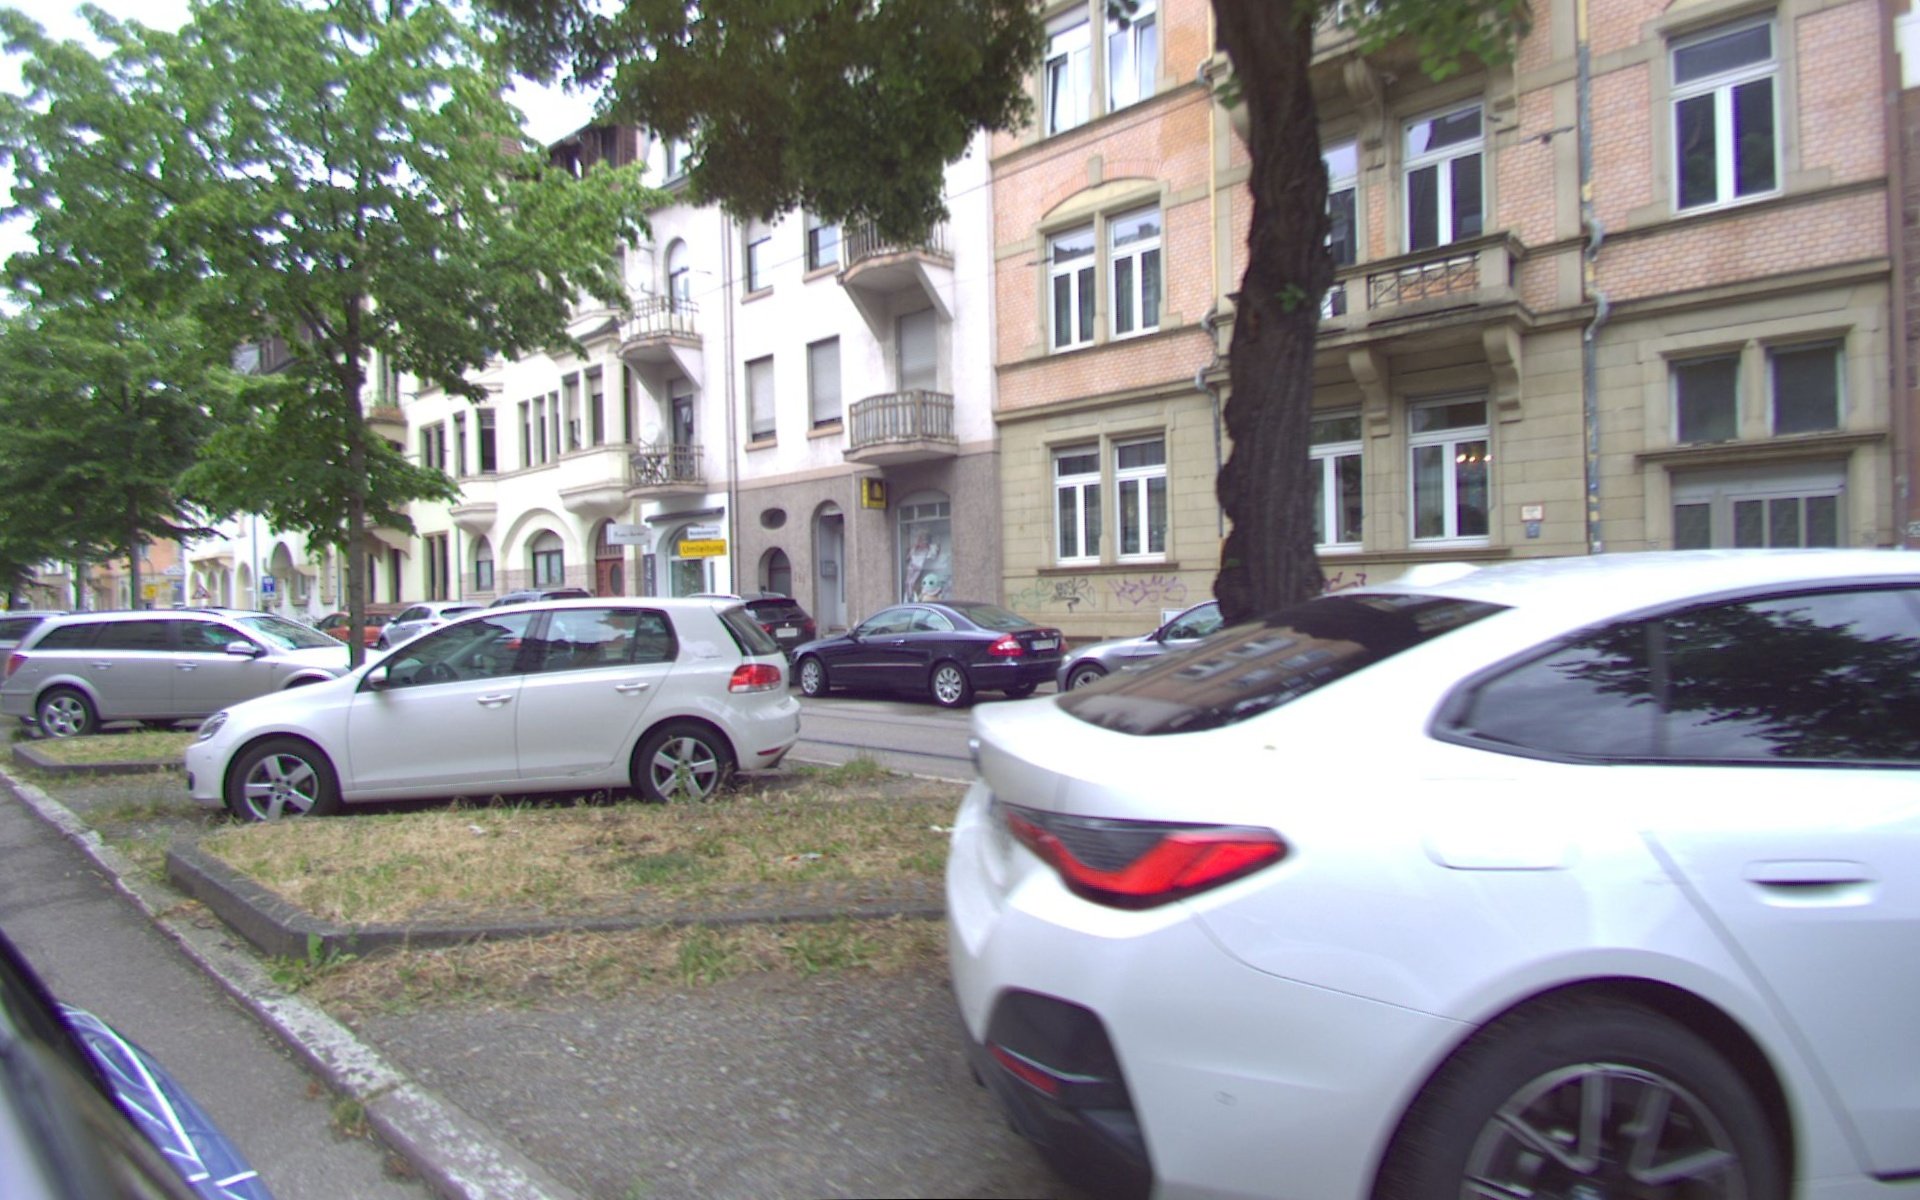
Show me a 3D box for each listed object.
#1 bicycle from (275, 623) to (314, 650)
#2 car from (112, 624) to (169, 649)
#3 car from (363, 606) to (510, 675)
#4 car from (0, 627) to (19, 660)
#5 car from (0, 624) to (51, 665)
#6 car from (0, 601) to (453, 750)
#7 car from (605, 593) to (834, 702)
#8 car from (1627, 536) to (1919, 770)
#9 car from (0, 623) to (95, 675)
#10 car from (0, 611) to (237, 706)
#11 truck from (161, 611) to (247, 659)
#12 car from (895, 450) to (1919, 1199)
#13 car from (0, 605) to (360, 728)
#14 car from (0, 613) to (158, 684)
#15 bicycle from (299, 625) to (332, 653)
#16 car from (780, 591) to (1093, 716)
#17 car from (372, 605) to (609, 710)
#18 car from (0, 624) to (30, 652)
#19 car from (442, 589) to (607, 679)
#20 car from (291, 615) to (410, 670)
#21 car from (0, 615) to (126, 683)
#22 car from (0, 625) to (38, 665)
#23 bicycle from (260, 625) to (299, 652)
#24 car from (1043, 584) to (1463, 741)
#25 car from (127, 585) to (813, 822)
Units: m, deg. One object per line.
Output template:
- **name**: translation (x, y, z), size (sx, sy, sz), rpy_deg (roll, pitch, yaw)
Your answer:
- **bicycle**: translation (-29.441, 1.617, 44.751), size (1.908, 1.135, 0.607), rpy_deg (-2, 2, 30)
- **car**: translation (-42.066, 1.880, 51.950), size (3.377, 1.185, 1.618), rpy_deg (-2, 0, 39)
- **car**: translation (-13.953, 1.052, 26.886), size (4.489, 1.672, 1.832), rpy_deg (-2, -1, 39)
- **car**: translation (-42.721, 1.905, 42.772), size (3.935, 1.426, 1.902), rpy_deg (-2, -2, -10)
- **car**: translation (-34.572, 1.609, 35.500), size (3.681, 1.399, 1.791), rpy_deg (-2, -2, -5)
- **car**: translation (-8.824, 0.845, 12.173), size (4.498, 1.504, 1.865), rpy_deg (-2, 1, -3)
- **car**: translation (-4.359, 0.766, 18.010), size (4.271, 1.692, 1.786), rpy_deg (-1, 0, 41)
- **car**: translation (7.616, 0.352, 7.452), size (4.318, 1.641, 1.750), rpy_deg (-1, 0, 41)
- **car**: translation (-29.591, 1.519, 30.963), size (4.540, 1.477, 1.887), rpy_deg (-2, 0, -3)
- **car**: translation (-16.381, 1.064, 19.081), size (4.141, 1.621, 1.728), rpy_deg (-1, 1, -7)
- **truck**: translation (-32.458, 1.467, 43.385), size (2.121, 1.870, 6.066), rpy_deg (-2, 0, -45)
- **car**: translation (2.119, 0.522, 2.479), size (4.473, 1.501, 2.038), rpy_deg (-1, 0, -4)
- **car**: translation (-10.949, 0.884, 14.234), size (3.940, 1.496, 1.777), rpy_deg (-2, 0, -3)
- **car**: translation (-21.229, 1.123, 23.754), size (3.375, 1.538, 1.693), rpy_deg (-1, 1, -6)
- **bicycle**: translation (-27.469, 1.647, 43.136), size (1.915, 1.135, 0.605), rpy_deg (-2, 2, 41)
- **car**: translation (-0.447, 0.674, 14.396), size (4.385, 1.501, 1.786), rpy_deg (-1, 0, 41)
- **car**: translation (-7.849, 0.854, 16.701), size (4.650, 1.464, 1.786), rpy_deg (-1, 0, 41)
- **car**: translation (-50.334, 1.986, 51.599), size (3.931, 1.426, 1.904), rpy_deg (-1, -2, -28)
- **car**: translation (-10.179, 0.764, 23.514), size (4.430, 1.885, 1.831), rpy_deg (-2, -1, 42)
- **car**: translation (-18.915, 1.288, 31.343), size (4.190, 1.534, 1.832), rpy_deg (-2, -1, 39)
- **car**: translation (-23.999, 1.283, 25.925), size (3.756, 1.538, 1.677), rpy_deg (-3, 1, -4)
- **car**: translation (-37.218, 1.726, 37.673), size (3.939, 1.478, 1.900), rpy_deg (-2, -2, -5)
- **bicycle**: translation (-31.003, 1.752, 46.101), size (1.908, 1.135, 0.607), rpy_deg (-2, 2, 30)
- **car**: translation (3.180, 0.600, 11.504), size (4.228, 1.449, 1.786), rpy_deg (-1, 0, 41)
- **car**: translation (-3.175, 0.630, 7.341), size (4.067, 1.322, 1.866), rpy_deg (-2, 0, -5)
